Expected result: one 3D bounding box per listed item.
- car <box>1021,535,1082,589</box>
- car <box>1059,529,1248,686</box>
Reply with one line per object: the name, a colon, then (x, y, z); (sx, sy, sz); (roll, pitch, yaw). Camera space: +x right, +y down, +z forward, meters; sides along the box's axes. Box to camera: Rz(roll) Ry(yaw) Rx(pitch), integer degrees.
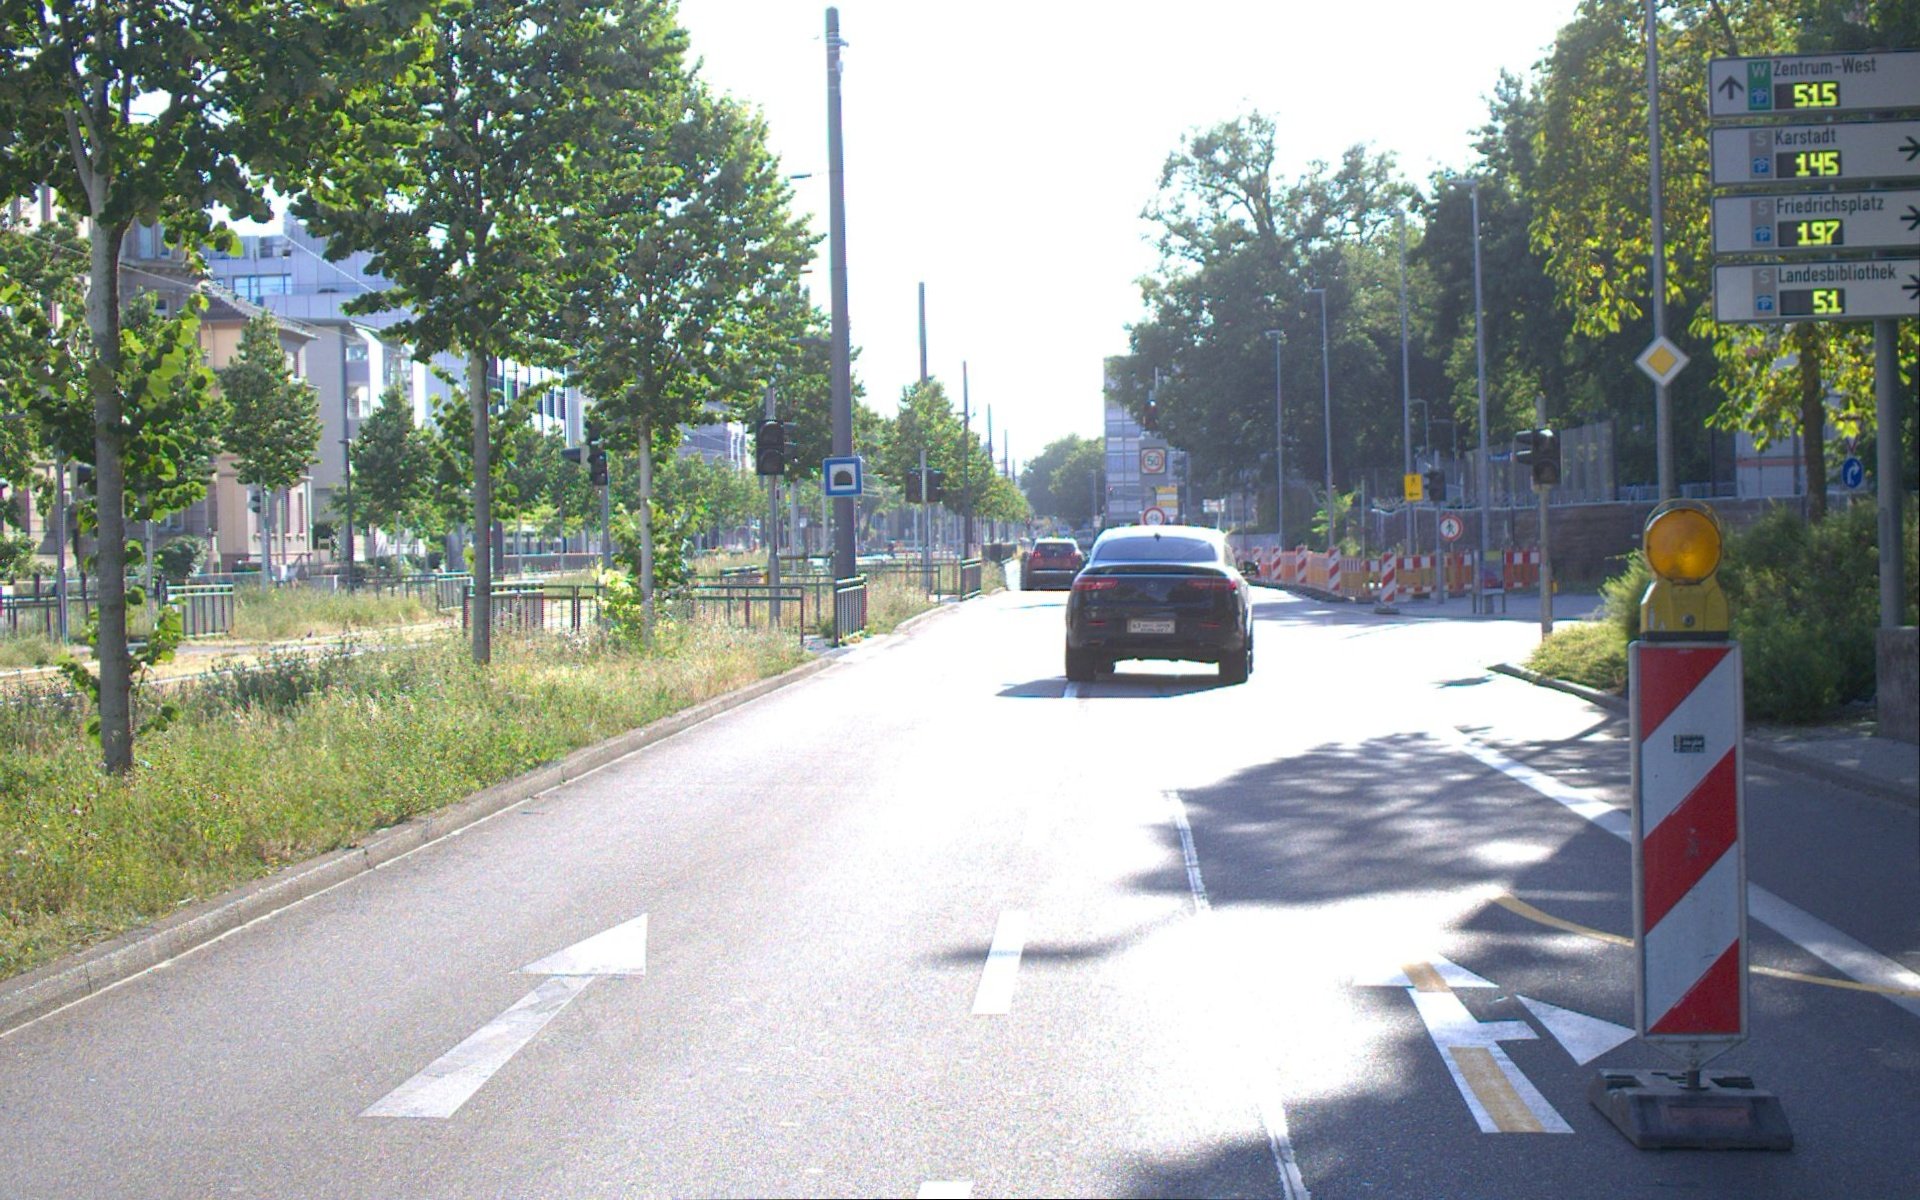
car: (2.878, -1.184, 107.217); (1.827, 1.653, 4.000); (1, 1, 2)
car: (2.153, 0.063, 38.851); (2.005, 1.653, 4.000); (1, 1, 2)
